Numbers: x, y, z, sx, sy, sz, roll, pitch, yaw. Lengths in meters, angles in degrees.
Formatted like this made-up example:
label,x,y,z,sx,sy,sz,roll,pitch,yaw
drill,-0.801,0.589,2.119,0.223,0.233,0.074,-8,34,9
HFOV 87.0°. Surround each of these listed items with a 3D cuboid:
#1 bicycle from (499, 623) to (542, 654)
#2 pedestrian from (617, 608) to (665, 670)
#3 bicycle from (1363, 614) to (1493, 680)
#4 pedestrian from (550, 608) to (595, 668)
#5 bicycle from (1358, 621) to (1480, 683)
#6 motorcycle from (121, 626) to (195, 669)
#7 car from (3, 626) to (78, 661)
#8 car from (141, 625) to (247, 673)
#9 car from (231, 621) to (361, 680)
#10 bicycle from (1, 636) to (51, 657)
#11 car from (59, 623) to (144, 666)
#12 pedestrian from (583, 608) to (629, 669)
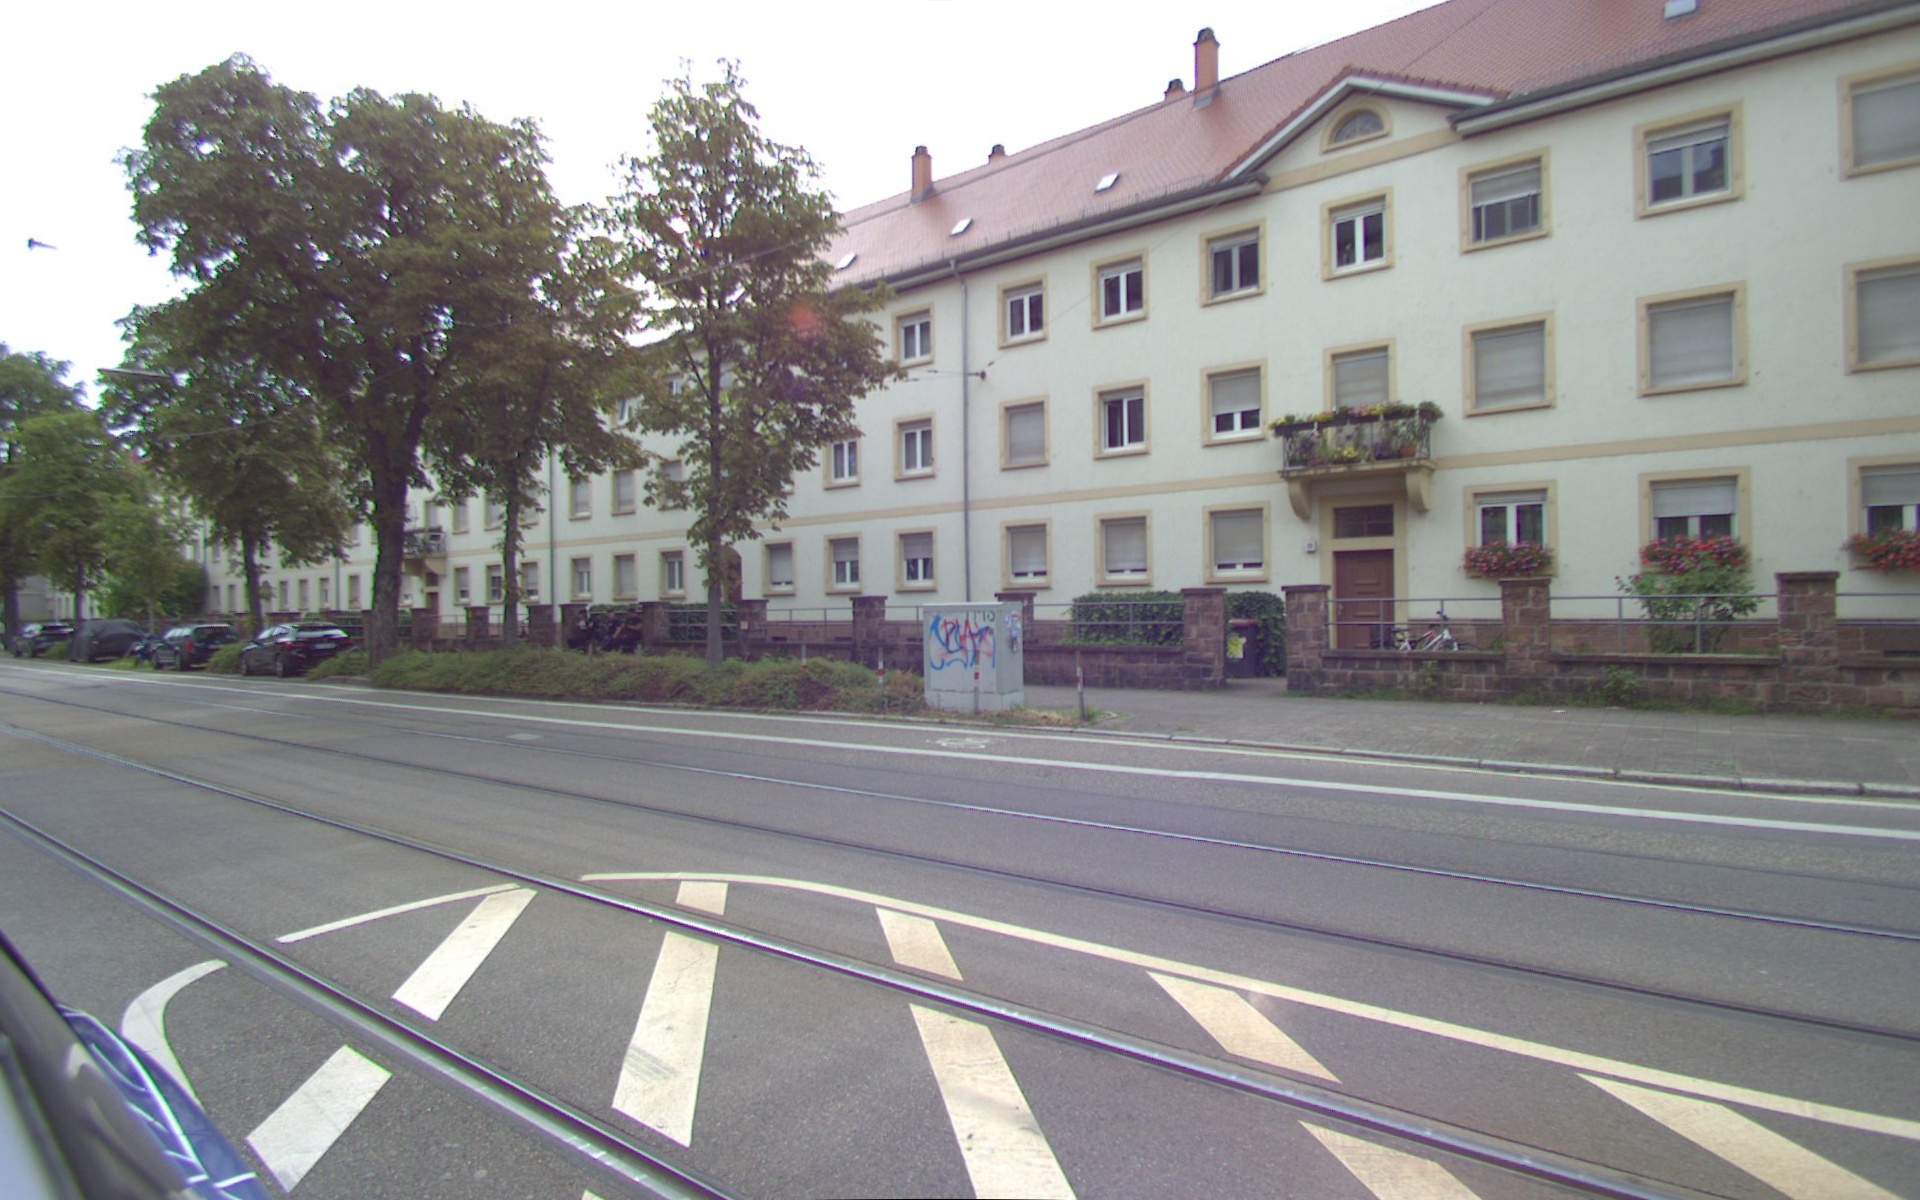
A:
label,x,y,z,sx,sy,sz,roll,pitch,yaw
bicycle,-12.933,1.134,29.773,1.548,0.869,0.504,-2,-1,38
pedestrian,-7.756,0.932,24.630,0.730,1.476,0.826,-1,-1,32
bicycle,6.925,0.684,15.013,1.670,0.922,0.473,-2,-1,38
pedestrian,-10.073,0.978,26.297,0.730,1.524,0.826,-1,-1,32
bicycle,7.232,0.809,15.992,1.670,0.922,0.473,-2,-1,38
motorcycle,-28.212,1.654,35.612,0.590,1.269,1.852,-2,4,33
car,-41.664,1.932,45.836,4.290,1.481,1.682,-1,-1,36
car,-25.184,1.571,33.231,4.293,1.434,1.681,-2,0,38
car,-18.611,1.377,28.289,4.293,1.434,1.681,-2,2,38
bicycle,-45.103,2.242,48.874,0.670,0.978,1.656,-1,-1,28
car,-34.192,1.747,40.281,4.293,1.624,1.768,-2,-1,38
pedestrian,-8.865,0.955,25.356,0.730,1.476,0.826,-1,-1,32
